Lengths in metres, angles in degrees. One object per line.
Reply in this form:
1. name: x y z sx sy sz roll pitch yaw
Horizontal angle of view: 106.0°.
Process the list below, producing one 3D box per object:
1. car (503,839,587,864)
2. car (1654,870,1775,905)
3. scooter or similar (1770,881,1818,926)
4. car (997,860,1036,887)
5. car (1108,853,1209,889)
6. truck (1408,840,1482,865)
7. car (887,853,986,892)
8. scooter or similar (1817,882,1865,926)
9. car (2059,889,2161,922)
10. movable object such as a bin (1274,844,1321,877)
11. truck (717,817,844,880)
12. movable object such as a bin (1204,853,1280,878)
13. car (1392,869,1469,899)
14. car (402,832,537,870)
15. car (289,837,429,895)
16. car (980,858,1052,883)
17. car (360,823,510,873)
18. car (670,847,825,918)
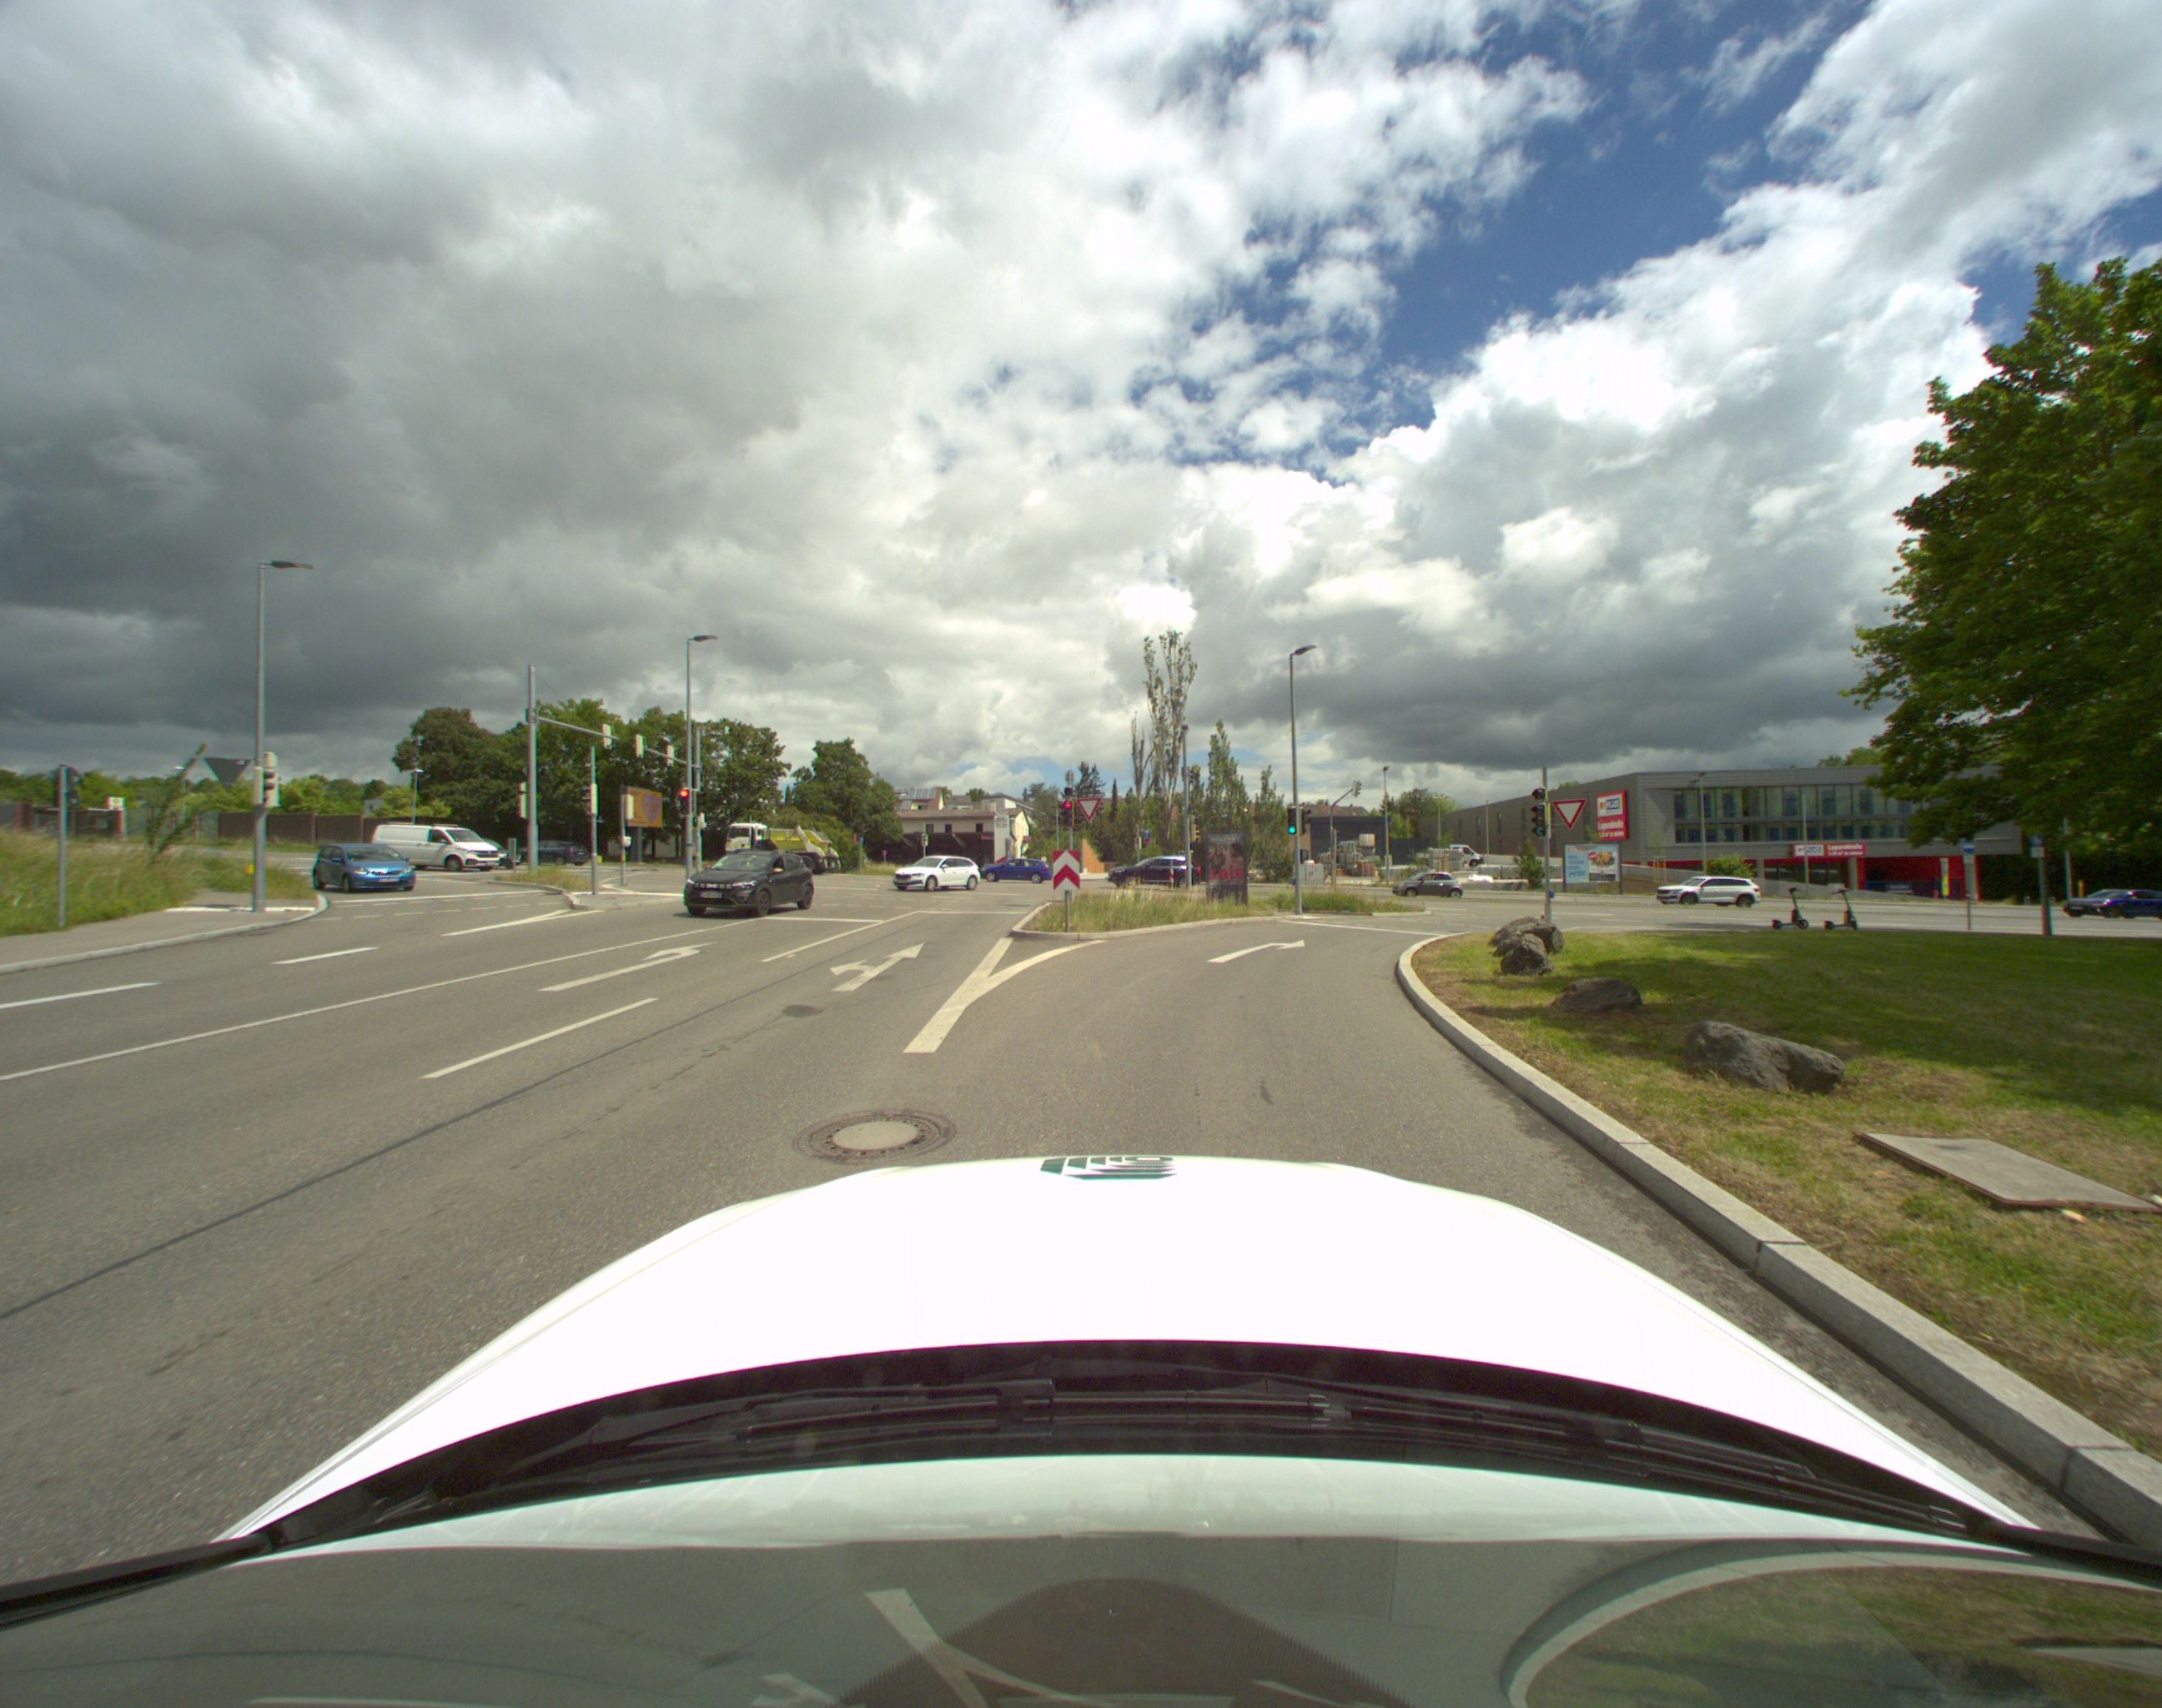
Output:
1. car: -32.336 -0.149 49.205 3.970 1.400 1.698 1 -1 3
2. car: 33.066 1.739 42.610 4.863 1.658 1.735 1 0 4
3. scooter or similar: 20.759 1.439 23.701 1.190 1.264 0.530 2 -2 -20
4. car: -5.310 1.612 66.684 2.002 2.014 3.970 -3 -1 -22
5. car: 4.050 0.872 43.046 4.966 1.689 1.904 2 0 -11
6. truck: 36.232 -0.161 81.190 6.505 2.145 2.009 -3 -1 18
7. car: -6.060 0.766 34.585 1.601 1.469 4.405 2 0 31
8. scooter or similar: 22.130 1.447 23.720 1.190 1.264 0.530 2 -2 -20
9. car: 52.907 2.617 41.207 4.362 1.511 1.813 1 0 5
10. movable object such as a bin: 17.508 0.548 65.713 3.374 2.538 2.164 1 -1 21
11. truck: -19.288 -0.356 52.463 6.916 3.579 2.849 -3 -1 2
12. movable object such as a bin: 15.657 1.114 79.178 6.869 2.014 2.306 -3 -1 16
13. car: 18.663 1.609 43.619 3.493 1.460 1.589 -2 0 7
14. car: -29.350 -0.144 39.190 4.938 1.635 1.911 2 0 0
15. car: -23.084 0.348 26.017 4.392 1.637 1.922 2 0 29
16. car: -3.800 0.969 48.021 3.971 1.400 1.698 1 -1 2
17. car: -28.156 -0.255 35.594 4.938 1.937 1.911 2 0 0
18. car: -8.065 0.629 20.145 1.776 1.578 4.171 0 0 5
